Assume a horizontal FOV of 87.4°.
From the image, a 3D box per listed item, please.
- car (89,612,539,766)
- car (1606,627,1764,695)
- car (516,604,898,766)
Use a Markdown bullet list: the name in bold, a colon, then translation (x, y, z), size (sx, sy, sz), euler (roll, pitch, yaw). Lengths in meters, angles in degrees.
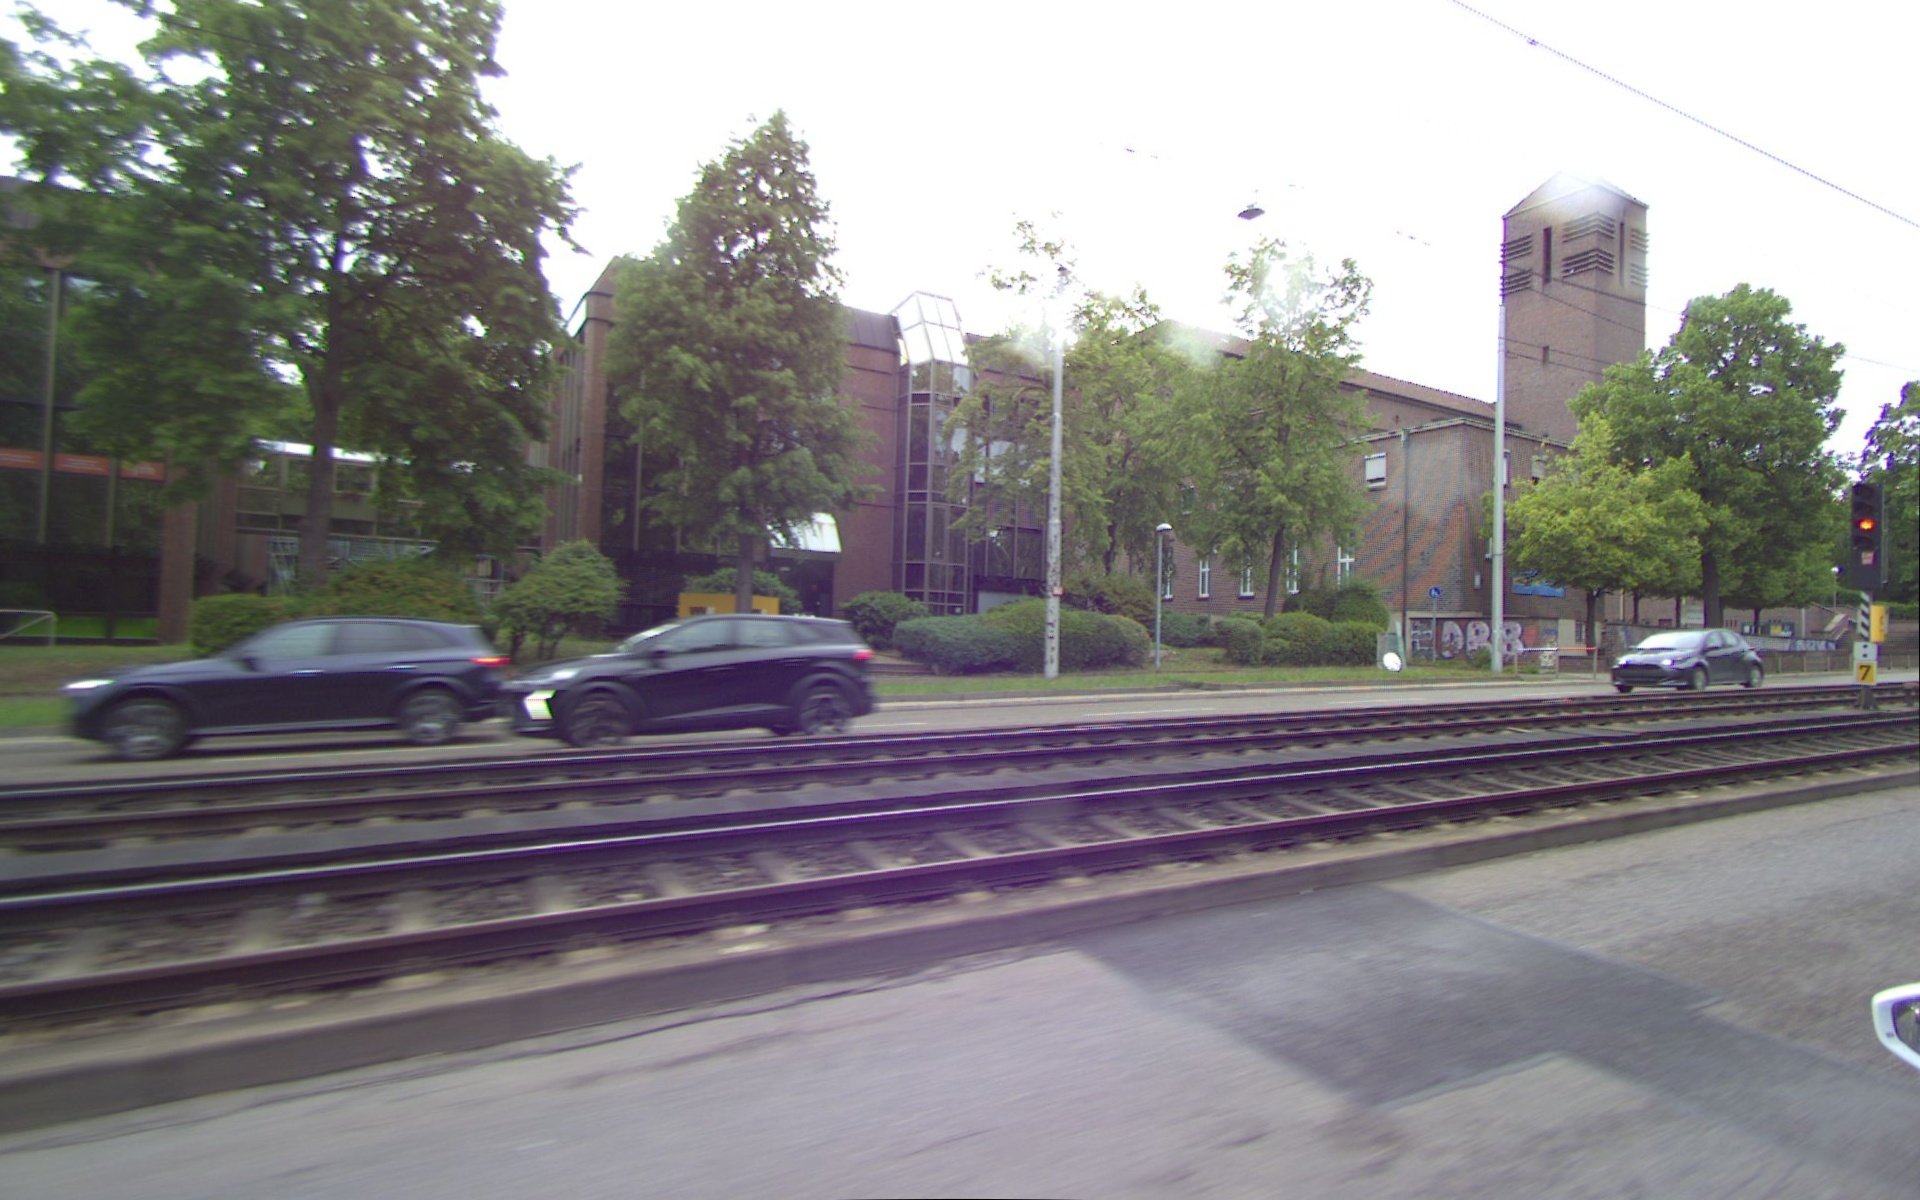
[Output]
- **car**: translation (-8.010, 1.024, 12.997), size (4.560, 1.678, 2.004), euler (1, -1, -29)
- **car**: translation (17.145, 1.381, 23.750), size (3.564, 1.481, 1.674), euler (1, -1, -29)
- **car**: translation (-3.024, 0.924, 12.228), size (4.189, 1.678, 1.826), euler (1, -1, -30)
